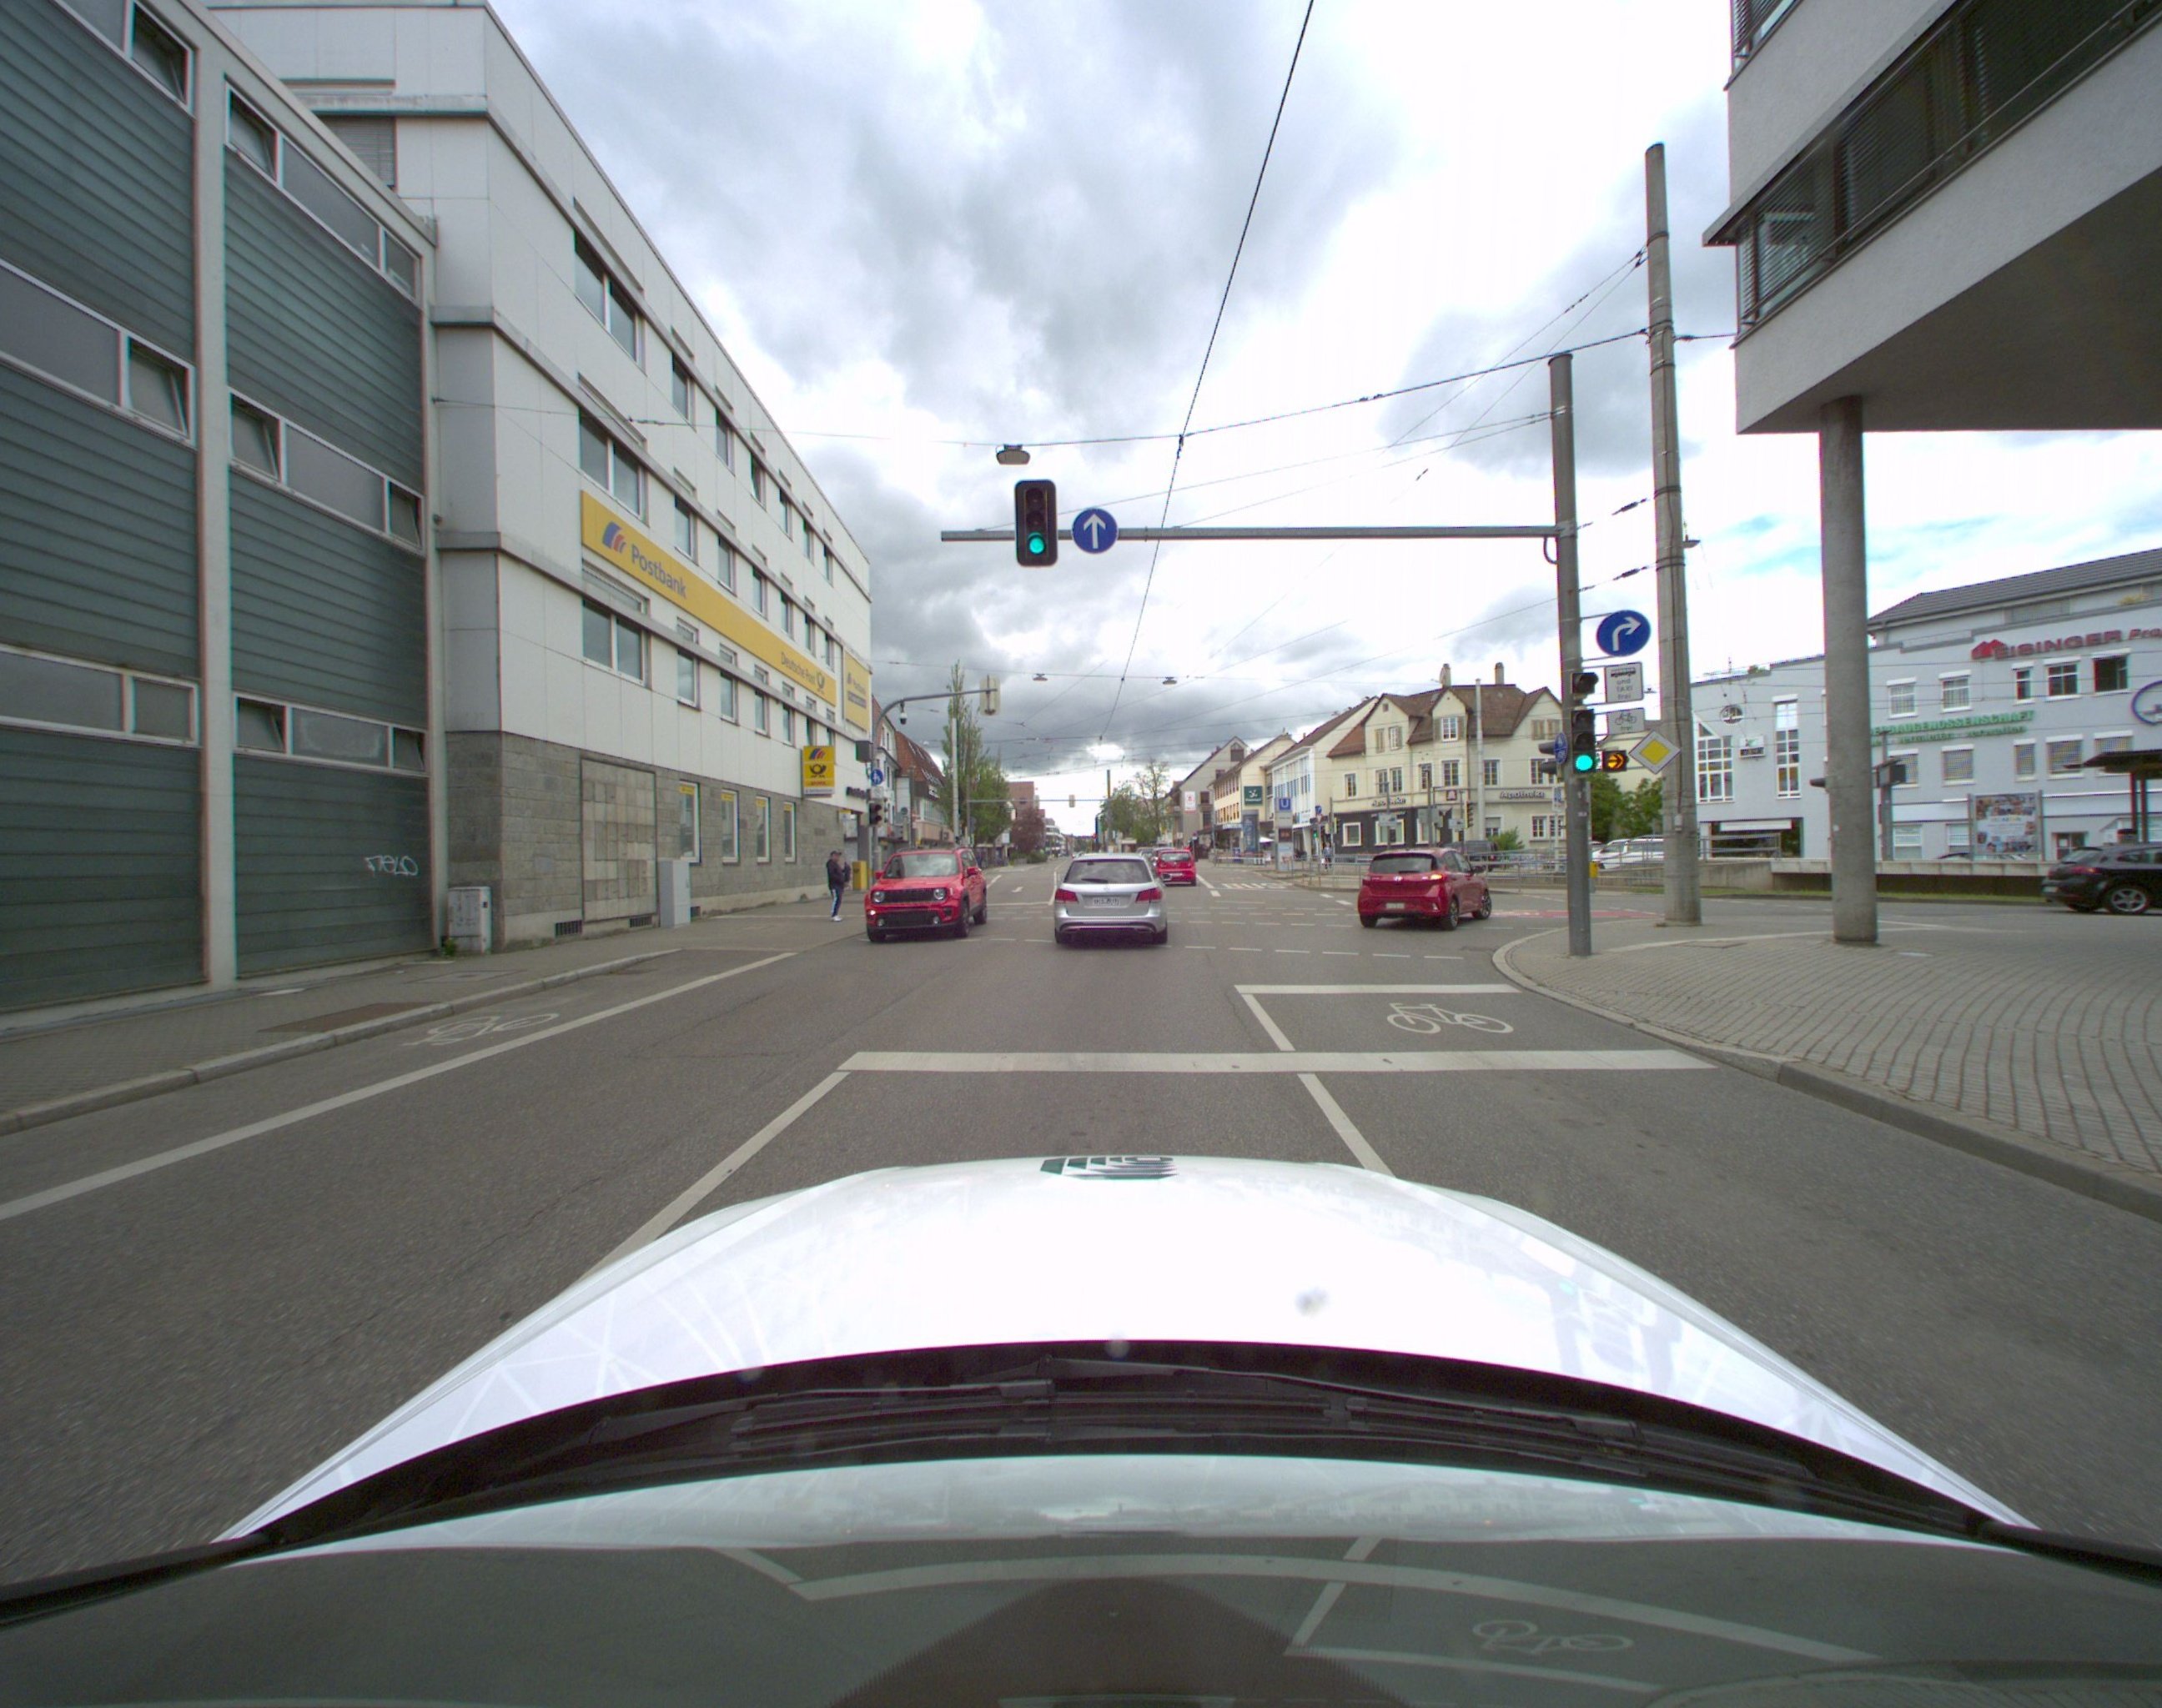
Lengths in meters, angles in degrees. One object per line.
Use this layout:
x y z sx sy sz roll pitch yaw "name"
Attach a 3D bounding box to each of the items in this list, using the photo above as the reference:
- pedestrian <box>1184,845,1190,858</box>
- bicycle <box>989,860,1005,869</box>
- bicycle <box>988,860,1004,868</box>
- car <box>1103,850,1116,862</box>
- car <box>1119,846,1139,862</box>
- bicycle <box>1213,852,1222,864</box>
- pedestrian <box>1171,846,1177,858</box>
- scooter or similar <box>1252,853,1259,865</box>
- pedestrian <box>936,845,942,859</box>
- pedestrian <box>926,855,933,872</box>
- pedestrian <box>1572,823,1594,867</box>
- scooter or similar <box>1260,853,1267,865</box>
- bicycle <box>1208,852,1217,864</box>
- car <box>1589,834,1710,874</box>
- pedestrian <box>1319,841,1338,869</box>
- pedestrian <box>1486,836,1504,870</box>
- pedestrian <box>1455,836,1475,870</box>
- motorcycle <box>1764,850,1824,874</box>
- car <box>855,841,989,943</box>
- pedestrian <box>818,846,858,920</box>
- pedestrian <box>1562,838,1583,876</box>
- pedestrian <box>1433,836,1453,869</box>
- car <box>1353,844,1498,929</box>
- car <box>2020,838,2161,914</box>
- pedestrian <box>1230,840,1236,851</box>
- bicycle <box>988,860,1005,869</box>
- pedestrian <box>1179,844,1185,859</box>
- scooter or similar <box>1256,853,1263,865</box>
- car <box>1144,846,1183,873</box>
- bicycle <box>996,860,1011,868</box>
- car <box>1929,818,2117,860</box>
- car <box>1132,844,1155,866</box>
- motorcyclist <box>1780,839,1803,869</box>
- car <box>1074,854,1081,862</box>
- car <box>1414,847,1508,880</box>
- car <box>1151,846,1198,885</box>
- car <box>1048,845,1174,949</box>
11.569 -0.251 88.905 0.576 1.469 0.651 -1 0 0 "pedestrian"
-10.133 1.231 98.297 1.938 1.029 0.528 0 0 -10 "bicycle"
-10.404 1.236 99.546 1.938 1.029 0.528 0 0 -10 "bicycle"
4.877 0.351 140.971 1.988 2.013 3.997 -1 0 -2 "car"
5.482 -0.015 92.653 1.988 1.750 3.999 -1 0 -1 "car"
12.925 0.344 77.289 0.446 1.107 2.149 -2 0 1 "bicycle"
10.952 -0.238 95.595 0.577 1.435 0.650 0 0 -6 "pedestrian"
15.010 0.402 70.062 0.271 1.001 1.028 -2 0 -4 "scooter or similar"
-16.403 -0.204 94.071 0.578 1.606 0.641 -2 0 -13 "pedestrian"
-16.111 0.994 86.736 0.643 1.836 0.577 -2 0 -15 "pedestrian"
19.951 -0.354 32.367 0.641 1.718 0.709 -2 0 39 "pedestrian"
15.738 0.420 70.141 0.271 1.001 1.028 -2 0 -4 "scooter or similar"
12.477 0.365 77.283 0.446 1.091 2.149 -2 0 1 "bicycle"
29.016 0.033 41.685 2.000 1.919 4.728 1 -1 -40 "car"
15.203 0.057 50.045 0.839 1.718 0.726 -2 0 -4 "pedestrian"
21.424 -0.047 42.117 0.779 1.718 0.654 0 0 30 "pedestrian"
19.523 -0.060 41.369 0.793 1.718 0.642 0 1 -40 "pedestrian"
32.618 0.372 37.252 0.767 1.073 1.957 1 -1 -40 "motorcycle"
-2.961 0.651 16.011 1.793 1.694 3.897 -2 0 0 "car"
-5.718 0.673 19.213 0.644 1.718 0.784 0 0 7 "pedestrian"
22.783 0.120 37.768 0.794 1.718 0.642 0 1 -44 "pedestrian"
18.883 -0.080 42.480 0.702 1.718 0.648 -2 0 -9 "pedestrian"
6.945 0.548 16.203 1.682 1.452 4.026 -1 0 37 "car"
21.749 0.404 16.009 3.948 1.410 1.751 -2 0 32 "car"
17.303 -0.995 92.826 0.532 1.218 0.579 0 0 -3 "pedestrian"
-10.273 1.233 98.955 1.938 1.029 0.528 0 0 -10 "bicycle"
11.398 -0.247 92.229 0.576 1.666 0.650 0 0 -2 "pedestrian"
15.375 0.423 70.105 0.271 1.001 1.028 -2 0 -4 "scooter or similar"
4.793 0.310 47.869 1.730 1.508 3.996 -2 0 -2 "car"
-9.640 1.232 101.316 1.938 1.029 0.528 0 0 -10 "bicycle"
37.085 -0.534 32.228 2.000 1.471 4.728 1 -1 -40 "car"
5.486 0.077 71.707 1.728 1.759 4.001 -2 0 1 "car"
32.568 0.010 37.327 0.767 1.394 0.685 1 -1 -40 "motorcyclist"
-0.964 1.099 222.145 1.988 2.013 3.997 -1 0 -2 "car"
22.457 0.565 48.253 4.637 1.821 1.875 -1 -1 44 "car"
3.909 0.431 33.624 1.724 1.508 4.010 -1 0 9 "car"
0.615 0.640 14.323 1.837 1.508 4.176 -2 0 4 "car"
